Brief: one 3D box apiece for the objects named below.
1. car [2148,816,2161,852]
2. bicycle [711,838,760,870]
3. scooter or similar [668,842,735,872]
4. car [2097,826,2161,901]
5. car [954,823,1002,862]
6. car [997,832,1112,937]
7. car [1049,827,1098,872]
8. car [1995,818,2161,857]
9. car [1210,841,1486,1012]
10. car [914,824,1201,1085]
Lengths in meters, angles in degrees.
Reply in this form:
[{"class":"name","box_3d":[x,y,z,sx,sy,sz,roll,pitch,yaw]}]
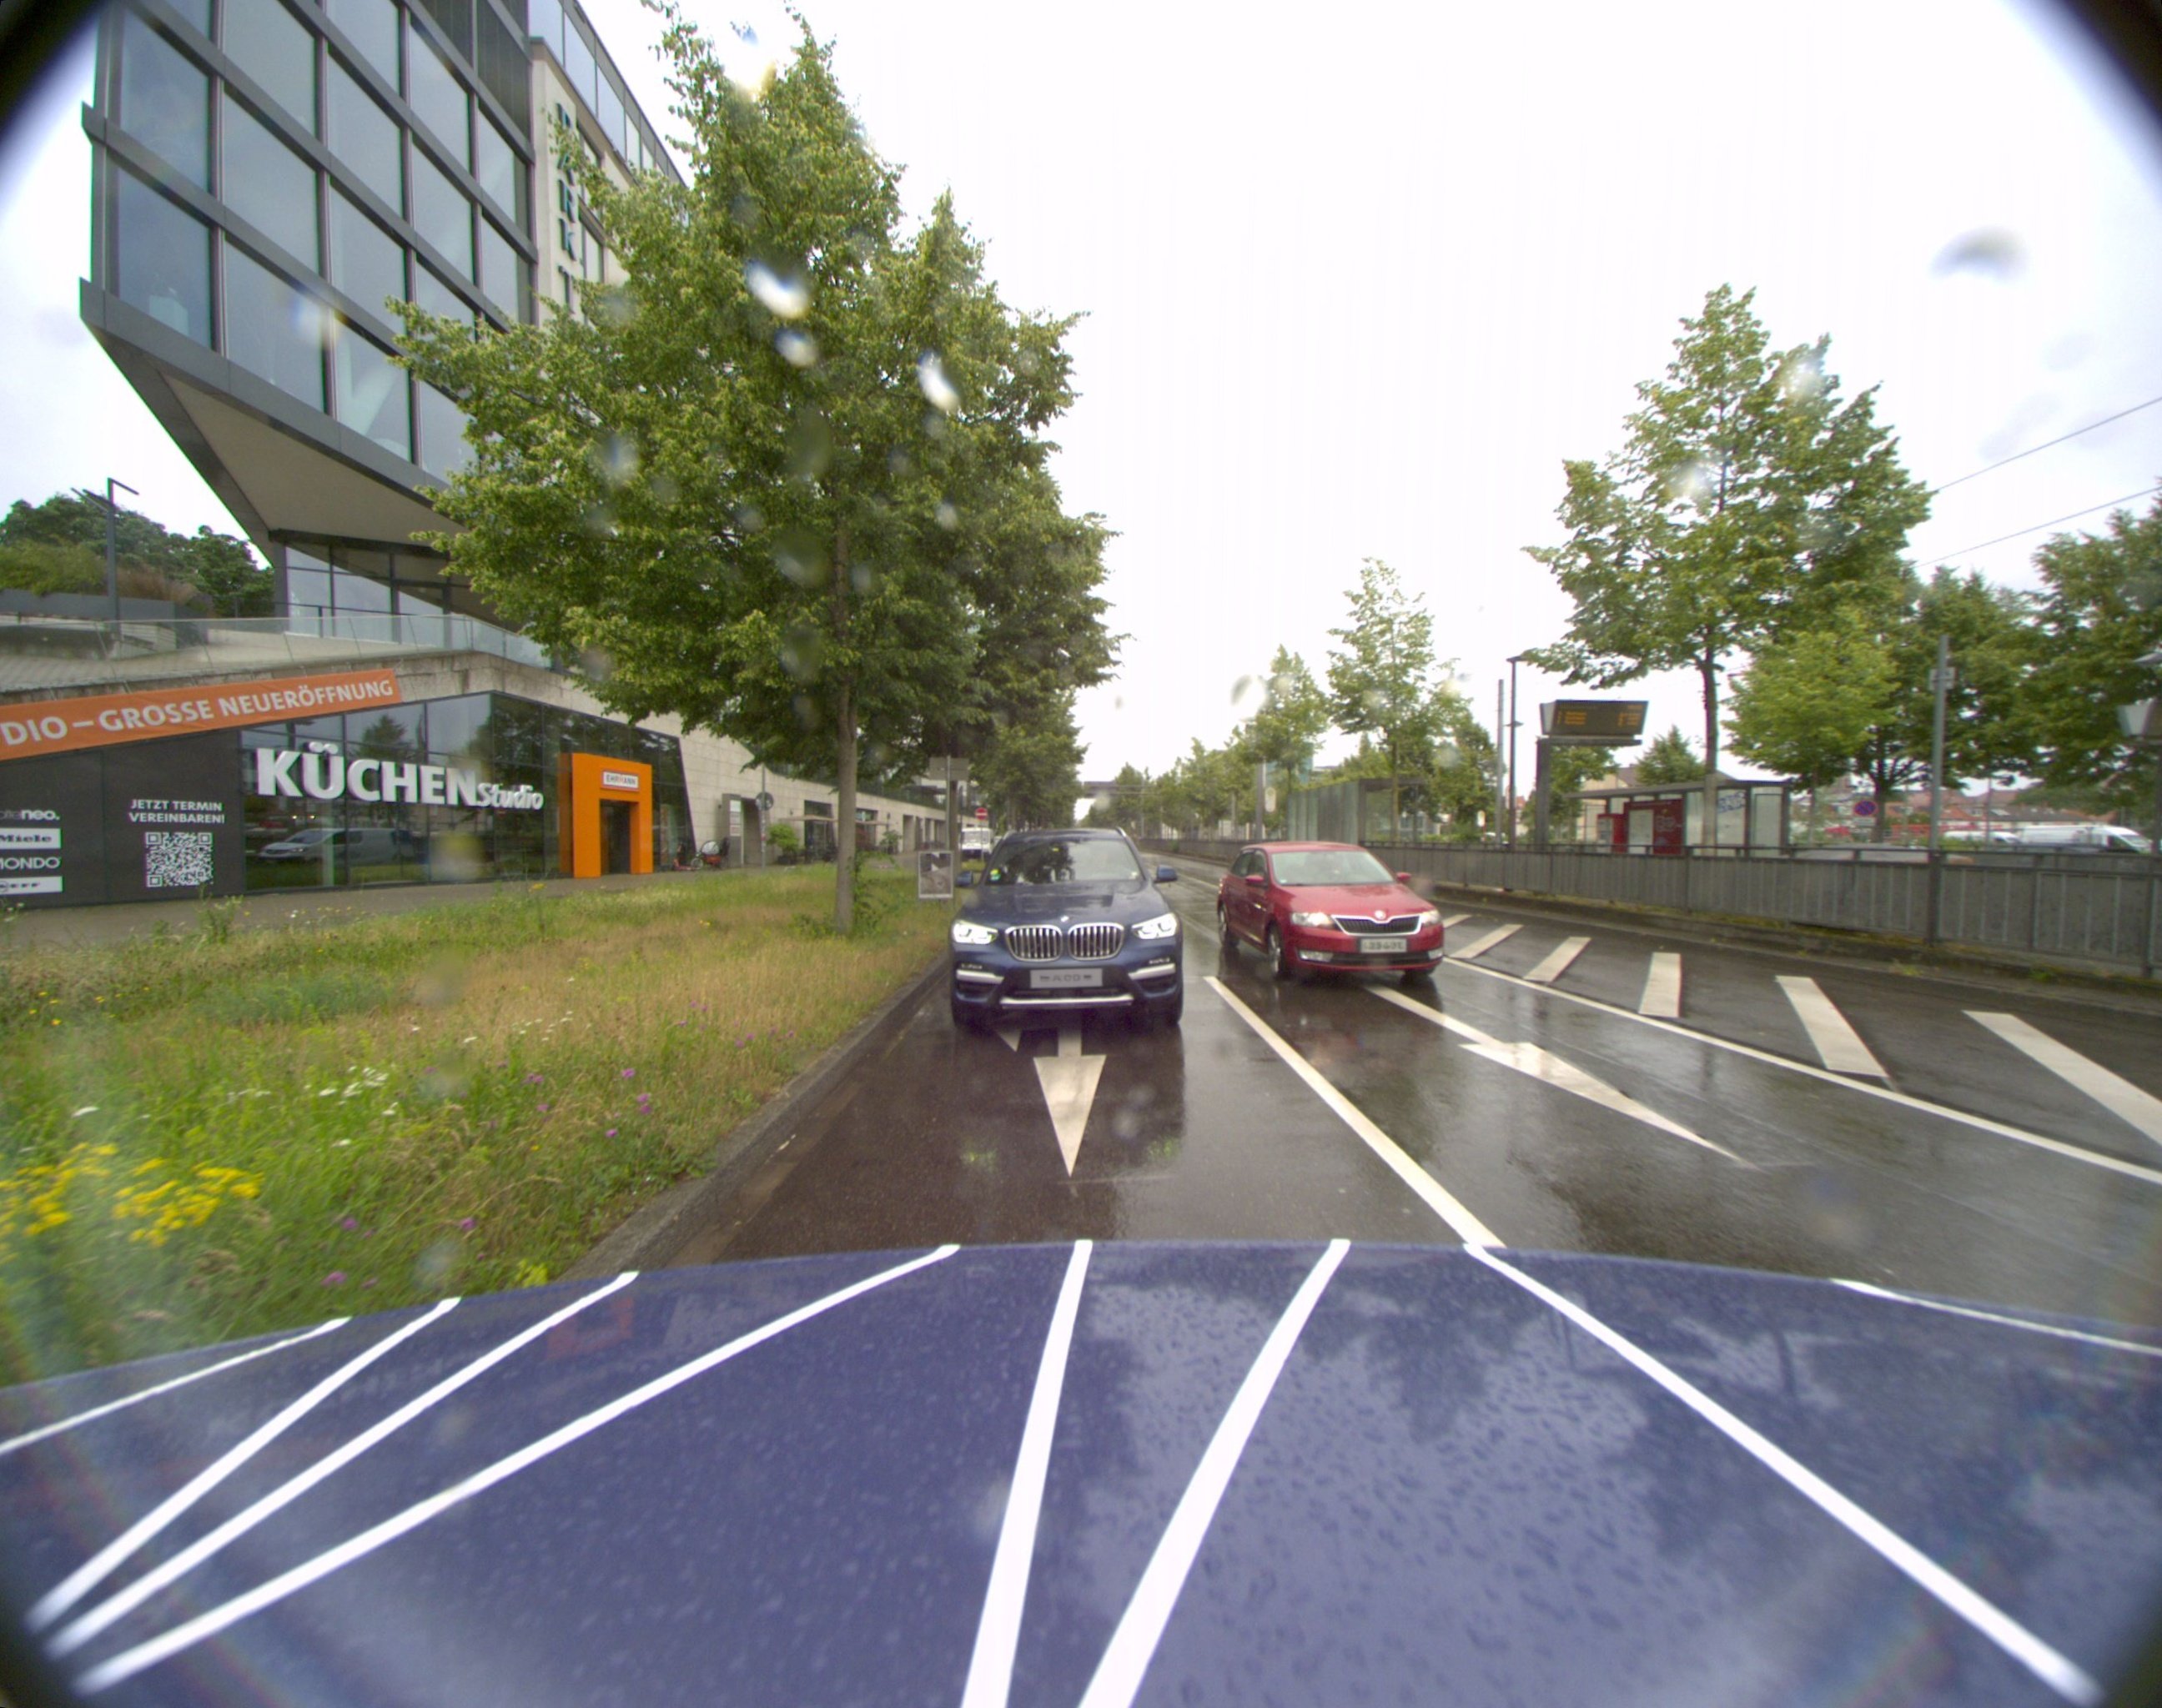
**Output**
[{"class":"car","box_3d":[76.625,-1.384,50.185,2.500,2.463,6.832,-2,2,-3]},{"class":"bicycle","box_3d":[-15.585,-0.039,34.393,0.882,1.340,2.696,-2,2,0]},{"class":"scooter or similar","box_3d":[-15.657,0.104,31.428,0.810,1.093,2.617,-2,2,18]},{"class":"car","box_3d":[22.776,0.220,14.026,1.830,1.478,4.624,-2,2,-1]},{"class":"car","box_3d":[-6.206,-0.720,46.420,2.084,2.189,5.095,-2,2,0]},{"class":"car","box_3d":[-0.475,0.474,15.312,1.916,1.737,4.381,-2,2,0]},{"class":"car","box_3d":[-0.270,-0.219,30.622,1.788,1.638,3.999,-2,2,0]},{"class":"car","box_3d":[69.899,-1.205,53.227,2.356,2.463,7.634,-2,2,-3]},{"class":"car","box_3d":[2.810,0.634,9.096,1.788,1.451,4.314,-2,2,0]},{"class":"car","box_3d":[-0.143,0.692,7.443,1.916,1.736,4.383,-2,0,0]}]
